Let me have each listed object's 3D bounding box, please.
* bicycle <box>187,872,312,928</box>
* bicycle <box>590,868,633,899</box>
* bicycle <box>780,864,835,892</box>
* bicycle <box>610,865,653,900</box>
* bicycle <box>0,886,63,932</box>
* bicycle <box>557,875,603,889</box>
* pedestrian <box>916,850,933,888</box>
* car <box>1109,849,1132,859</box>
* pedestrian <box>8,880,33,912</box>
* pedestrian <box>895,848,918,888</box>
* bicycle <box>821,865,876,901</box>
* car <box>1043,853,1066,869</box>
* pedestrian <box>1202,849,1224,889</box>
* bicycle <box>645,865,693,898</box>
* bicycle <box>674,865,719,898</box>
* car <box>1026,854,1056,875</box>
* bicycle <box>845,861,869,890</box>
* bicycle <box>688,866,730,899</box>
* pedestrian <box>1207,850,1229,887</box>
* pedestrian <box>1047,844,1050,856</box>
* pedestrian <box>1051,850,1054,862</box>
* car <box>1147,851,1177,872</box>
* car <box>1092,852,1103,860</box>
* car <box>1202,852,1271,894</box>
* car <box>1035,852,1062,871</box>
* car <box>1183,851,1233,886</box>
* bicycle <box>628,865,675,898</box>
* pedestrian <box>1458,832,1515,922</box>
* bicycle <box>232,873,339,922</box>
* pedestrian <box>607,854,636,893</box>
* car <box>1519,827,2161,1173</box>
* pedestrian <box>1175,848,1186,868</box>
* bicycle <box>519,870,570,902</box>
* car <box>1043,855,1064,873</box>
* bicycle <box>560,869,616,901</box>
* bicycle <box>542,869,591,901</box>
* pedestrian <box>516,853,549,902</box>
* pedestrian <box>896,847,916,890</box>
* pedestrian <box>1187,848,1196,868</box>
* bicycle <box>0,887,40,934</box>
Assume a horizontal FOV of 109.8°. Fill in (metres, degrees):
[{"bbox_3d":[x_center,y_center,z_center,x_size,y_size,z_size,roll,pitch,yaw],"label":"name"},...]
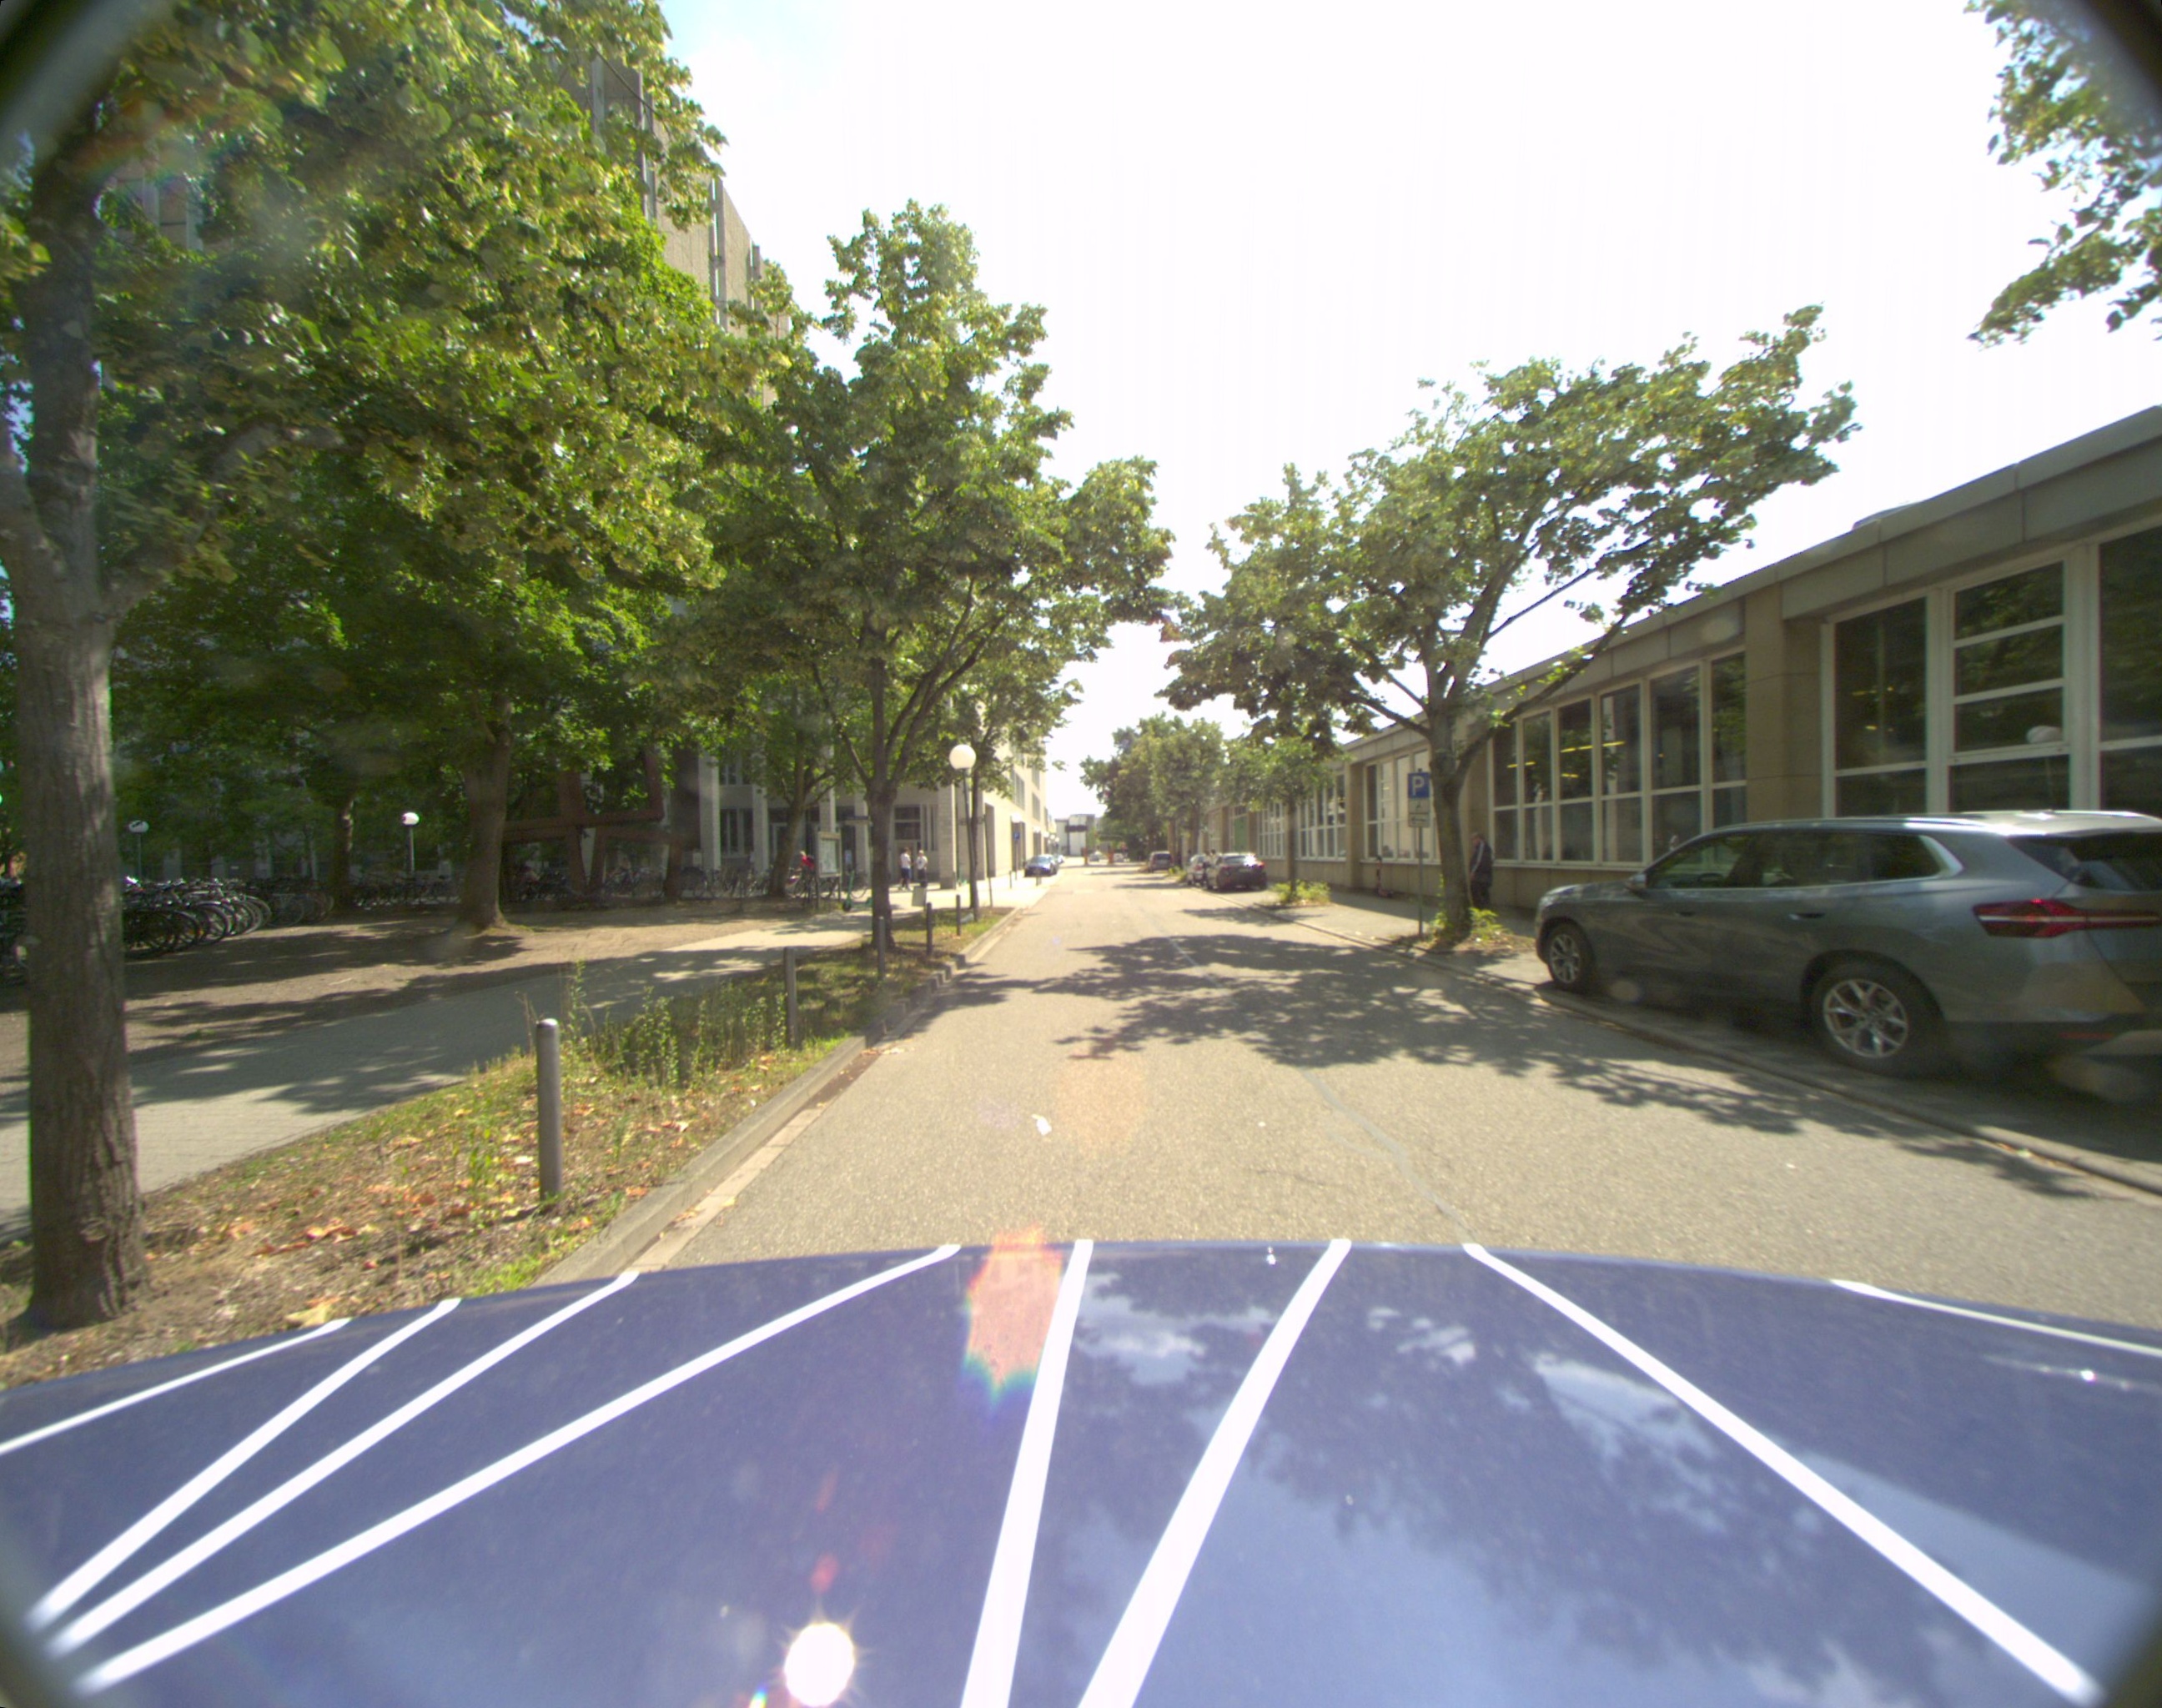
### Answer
[{"bbox_3d":[-18.756,1.006,17.196,1.849,1.163,0.412,-1,0,-38],"label":"bicycle"},{"bbox_3d":[-16.422,1.021,26.628,0.568,1.041,1.695,-3,-1,-7],"label":"bicycle"},{"bbox_3d":[-11.104,0.987,30.879,1.929,1.036,0.818,-1,4,8],"label":"bicycle"},{"bbox_3d":[-15.759,0.981,26.693,0.628,1.143,1.695,-3,0,-8],"label":"bicycle"},{"bbox_3d":[-24.369,1.242,16.960,0.477,0.973,1.908,1,1,41],"label":"bicycle"},{"bbox_3d":[-26.818,1.504,40.687,1.989,0.755,0.644,0,-1,-2],"label":"bicycle"},{"bbox_3d":[-7.199,0.670,34.889,0.613,1.719,0.542,-1,1,2],"label":"pedestrian"},{"bbox_3d":[6.576,0.068,127.329,3.674,1.441,1.804,-4,1,-1],"label":"car"},{"bbox_3d":[-40.479,1.605,29.005,0.402,1.205,0.387,-1,0,9],"label":"pedestrian"},{"bbox_3d":[-7.986,0.644,34.739,0.811,1.787,0.618,-2,2,-43],"label":"pedestrian"},{"bbox_3d":[-7.867,0.969,25.792,0.604,1.135,1.790,2,1,33],"label":"bicycle"},{"bbox_3d":[-2.385,0.663,68.386,1.843,1.390,3.878,1,-1,1],"label":"car"},{"bbox_3d":[5.711,0.629,32.926,0.797,1.718,0.601,-1,1,0],"label":"pedestrian"},{"bbox_3d":[-14.370,0.947,26.548,0.627,1.118,1.697,1,-1,6],"label":"bicycle"},{"bbox_3d":[-13.529,0.957,26.801,0.565,1.118,1.697,1,-1,6],"label":"bicycle"},{"bbox_3d":[-2.760,0.716,52.950,1.843,1.390,3.878,1,-1,1],"label":"car"},{"bbox_3d":[-10.193,0.962,34.648,0.531,1.235,1.829,-1,1,0],"label":"bicycle"},{"bbox_3d":[-13.026,0.973,26.636,0.481,1.118,1.697,1,-1,6],"label":"bicycle"},{"bbox_3d":[5.780,0.624,32.157,0.797,1.533,0.664,-1,1,0],"label":"pedestrian"},{"bbox_3d":[-4.592,-0.539,107.429,0.441,1.620,0.570,2,0,1],"label":"pedestrian"},{"bbox_3d":[-4.004,0.290,107.389,0.383,1.620,0.519,2,0,1],"label":"pedestrian"},{"bbox_3d":[6.086,0.546,57.429,1.803,1.441,3.676,-4,0,0],"label":"car"},{"bbox_3d":[3.194,0.429,147.356,1.803,1.441,3.676,-4,0,0],"label":"car"},{"bbox_3d":[5.964,0.702,29.600,1.729,1.427,4.289,-3,0,0],"label":"car"},{"bbox_3d":[-2.467,0.556,58.507,1.843,1.390,3.878,1,-1,1],"label":"car"},{"bbox_3d":[5.837,0.633,35.267,1.634,1.441,3.752,-4,0,0],"label":"car"},{"bbox_3d":[-15.078,0.953,26.741,0.627,1.143,1.697,1,-1,2],"label":"bicycle"},{"bbox_3d":[8.287,0.465,15.564,0.670,1.776,0.791,-3,0,0],"label":"pedestrian"},{"bbox_3d":[-20.630,1.111,19.749,1.848,1.163,0.435,-1,0,-35],"label":"bicycle"},{"bbox_3d":[-20.917,0.895,34.633,0.938,1.730,0.748,-2,1,-19],"label":"pedestrian"},{"bbox_3d":[5.759,0.681,5.993,1.826,1.623,4.515,-3,1,-2],"label":"car"},{"bbox_3d":[7.763,0.334,59.249,0.604,1.571,0.552,1,0,31],"label":"pedestrian"},{"bbox_3d":[-18.687,1.109,26.513,0.617,1.041,1.688,-3,-1,-4],"label":"bicycle"},{"bbox_3d":[-2.634,0.954,73.381,1.799,1.691,4.000,2,0,1],"label":"car"},{"bbox_3d":[-17.232,1.065,26.596,0.617,1.041,1.697,-3,-1,9],"label":"bicycle"},{"bbox_3d":[-17.969,1.081,26.588,0.617,1.041,1.688,-3,-1,-4],"label":"bicycle"},{"bbox_3d":[-19.518,0.823,27.055,0.428,1.693,0.944,-3,0,-4],"label":"pedestrian"},{"bbox_3d":[-7.760,0.629,33.669,0.687,1.880,0.686,-2,2,-2],"label":"pedestrian"},{"bbox_3d":[8.593,0.296,59.226,0.605,1.571,0.551,1,0,-2],"label":"pedestrian"},{"bbox_3d":[-23.547,1.223,15.966,1.908,0.973,0.477,0,1,-43],"label":"bicycle"}]
